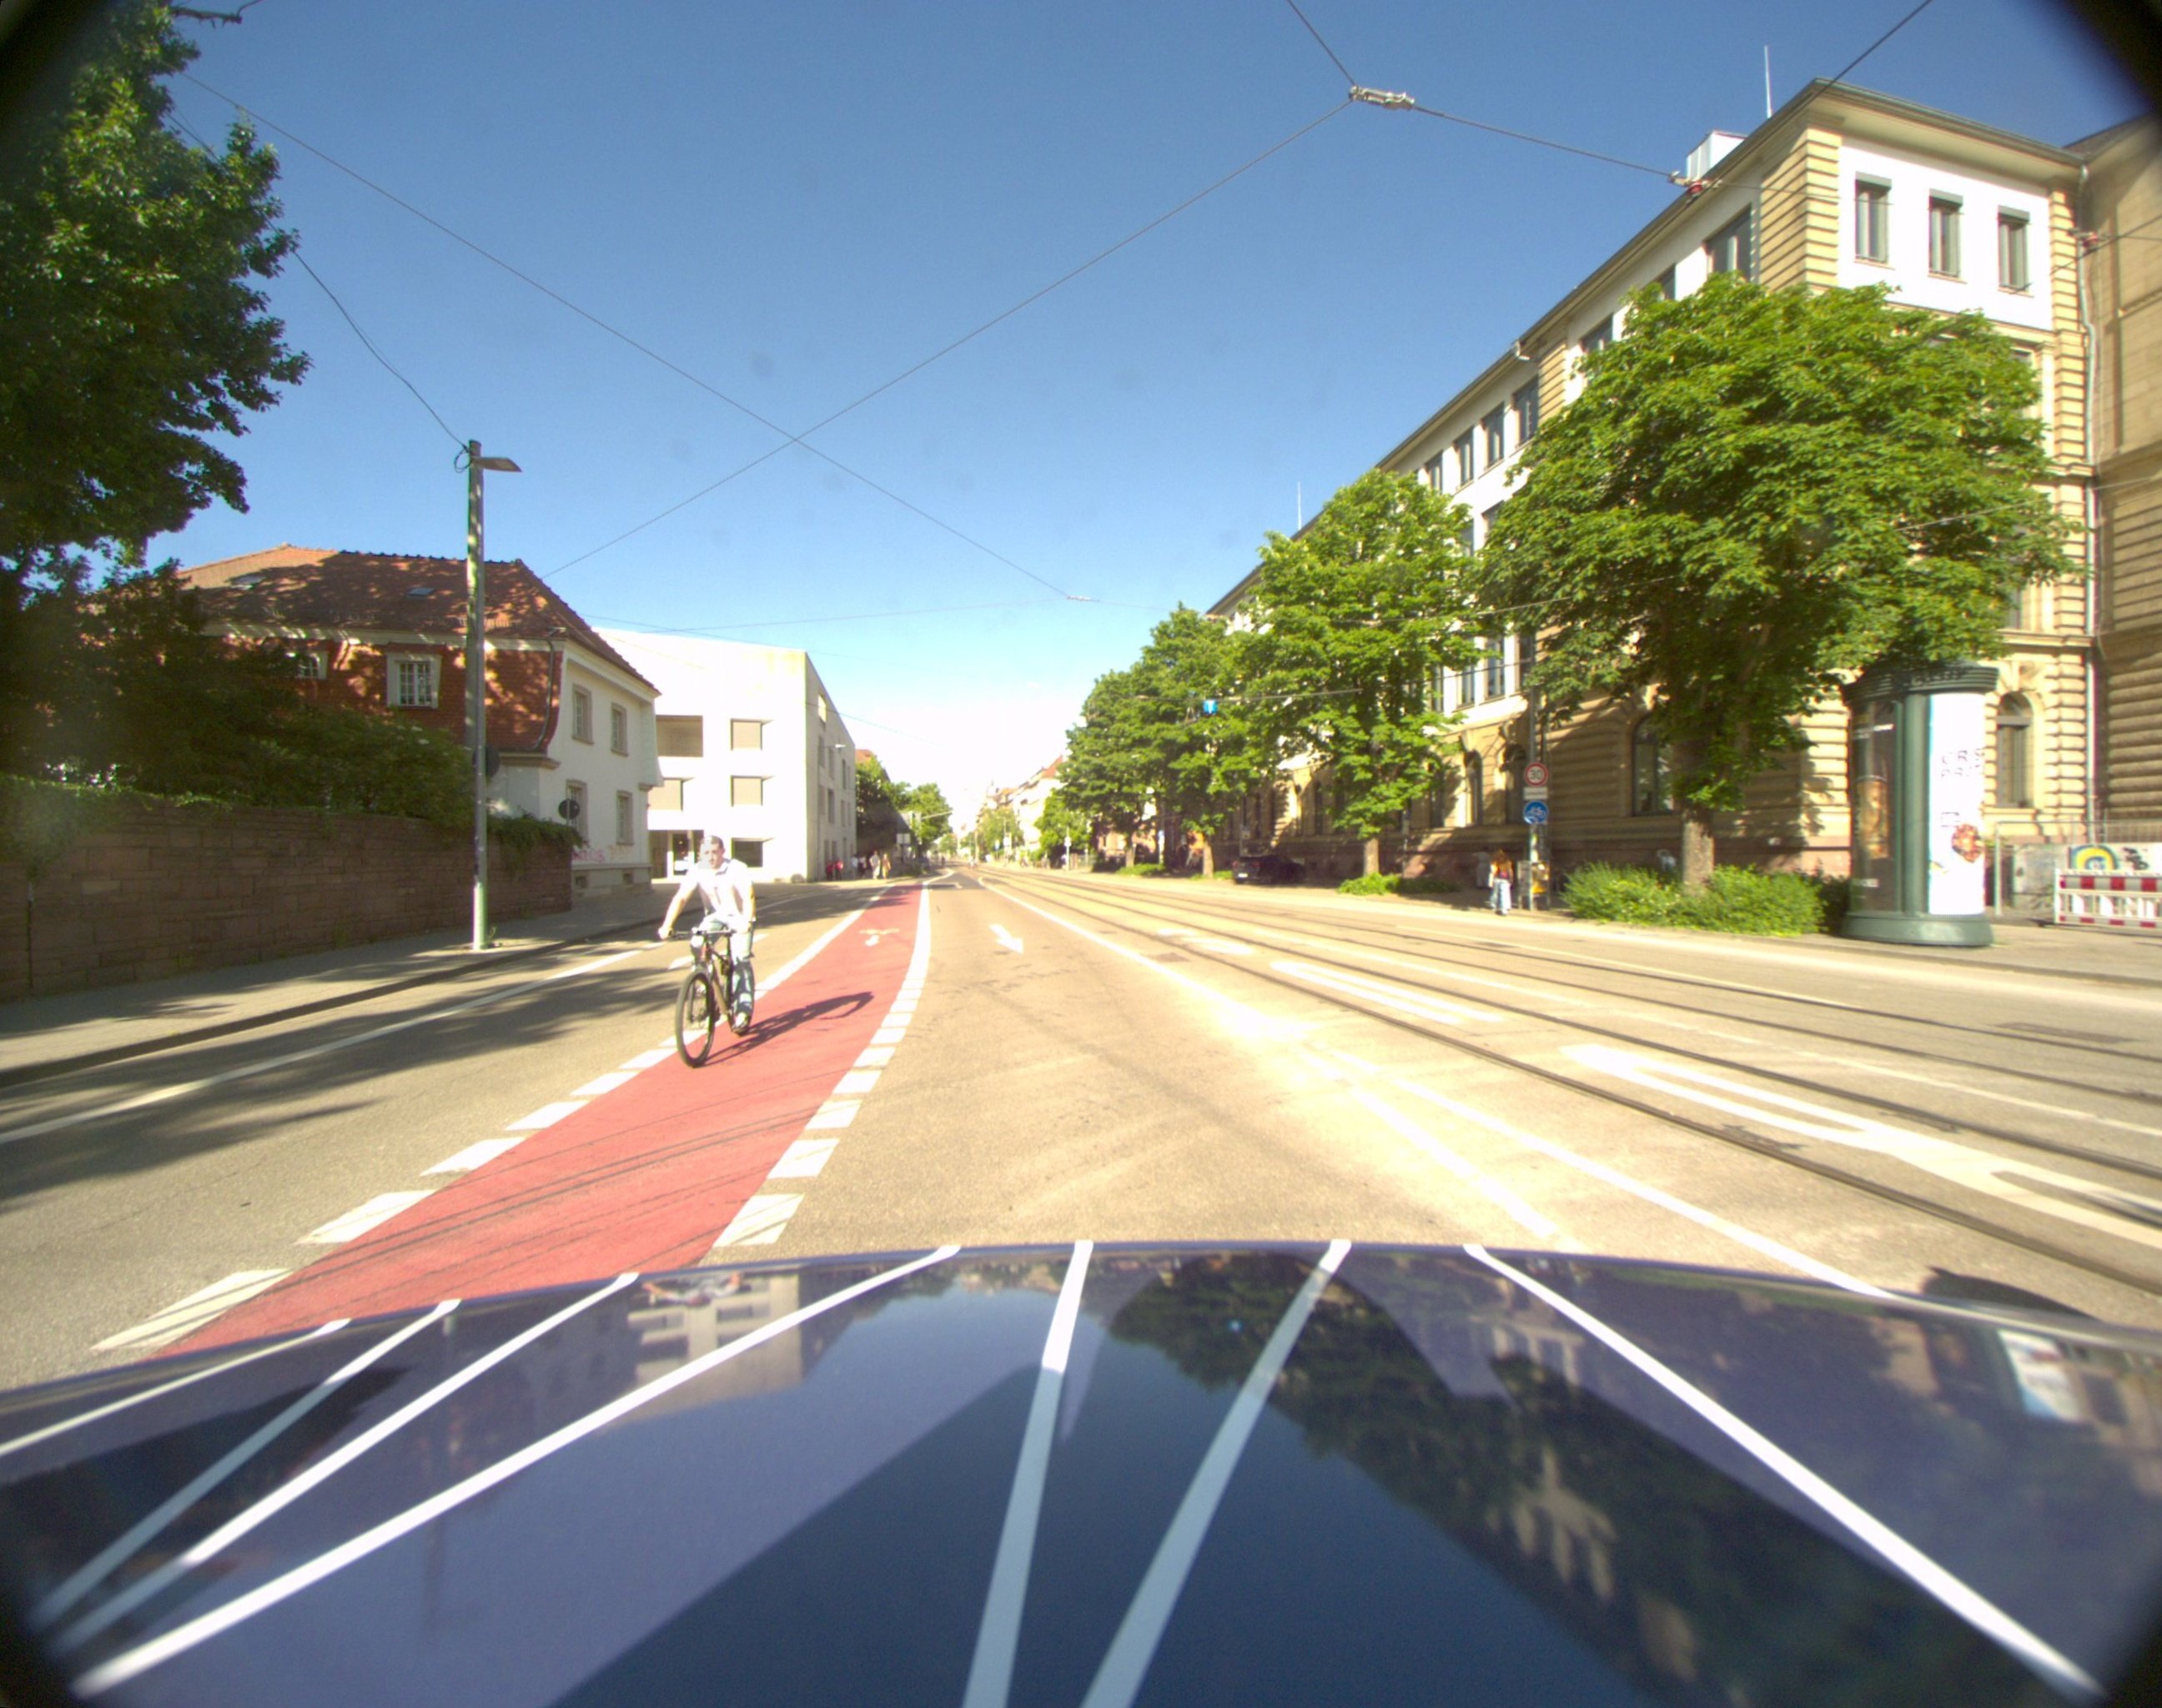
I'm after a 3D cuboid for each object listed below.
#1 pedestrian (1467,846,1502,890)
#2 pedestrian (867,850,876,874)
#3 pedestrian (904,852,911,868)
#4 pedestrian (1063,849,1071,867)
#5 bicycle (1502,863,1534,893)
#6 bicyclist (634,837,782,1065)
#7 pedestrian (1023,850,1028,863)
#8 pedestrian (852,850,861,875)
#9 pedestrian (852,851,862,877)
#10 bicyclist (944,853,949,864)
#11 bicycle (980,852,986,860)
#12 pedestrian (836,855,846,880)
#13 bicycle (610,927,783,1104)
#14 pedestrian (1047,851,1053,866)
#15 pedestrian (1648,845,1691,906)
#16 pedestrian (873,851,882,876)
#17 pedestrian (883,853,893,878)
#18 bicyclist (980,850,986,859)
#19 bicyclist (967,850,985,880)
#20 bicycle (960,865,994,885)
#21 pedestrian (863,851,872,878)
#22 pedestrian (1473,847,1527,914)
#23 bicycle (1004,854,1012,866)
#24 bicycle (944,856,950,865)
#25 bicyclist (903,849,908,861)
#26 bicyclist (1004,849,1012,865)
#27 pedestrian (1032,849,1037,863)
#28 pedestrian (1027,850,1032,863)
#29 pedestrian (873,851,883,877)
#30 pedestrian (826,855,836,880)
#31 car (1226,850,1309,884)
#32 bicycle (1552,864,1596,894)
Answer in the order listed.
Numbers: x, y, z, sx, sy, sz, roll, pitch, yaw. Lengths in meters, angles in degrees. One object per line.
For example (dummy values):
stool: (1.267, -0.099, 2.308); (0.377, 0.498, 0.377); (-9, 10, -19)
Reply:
pedestrian: (14.931, 0.508, 28.129); (0.858, 1.558, 0.672); (-4, 2, -6)
pedestrian: (-15.554, 0.586, 56.411); (0.588, 1.795, 0.545); (-1, 1, -12)
pedestrian: (-18.534, 0.648, 81.015); (0.679, 1.728, 0.931); (0, 1, -9)
pedestrian: (-1.432, 0.412, 78.739); (0.729, 1.845, 0.653); (0, 1, -8)
bicycle: (14.954, 0.802, 26.009); (0.343, 0.951, 1.101); (-2, 2, -9)
bicyclist: (-3.117, 0.757, 6.456); (0.752, 1.765, 1.013); (-1, 1, -4)
pedestrian: (-7.533, 0.357, 103.033); (0.579, 1.845, 0.684); (0, 1, -10)
pedestrian: (-16.560, 0.620, 56.138); (0.588, 1.795, 0.545); (-1, 1, -12)
pedestrian: (-15.403, 0.700, 52.258); (0.588, 1.795, 0.545); (-1, 1, -12)
bicyclist: (-18.700, 0.596, 105.679); (0.665, 1.453, 0.622); (-2, 2, -7)
bicycle: (-19.915, 0.373, 154.202); (1.004, 1.672, 2.981); (-2, 2, -10)
pedestrian: (-15.285, 0.836, 48.436); (0.535, 1.557, 0.519); (-1, 1, -12)
bicycle: (-3.128, 1.251, 6.396); (0.612, 1.071, 1.829); (-1, 0, -4)
pedestrian: (-3.754, 0.575, 91.939); (0.579, 1.845, 0.653); (0, 1, -10)
pedestrian: (15.203, 0.548, 19.629); (0.579, 1.553, 0.653); (0, 1, -10)
pedestrian: (-14.621, 0.681, 54.624); (0.588, 1.795, 0.582); (-1, 1, -12)
pedestrian: (-13.425, 0.826, 52.836); (0.588, 1.717, 0.519); (-1, 1, -12)
bicyclist: (-19.926, 0.075, 154.187); (1.004, 1.712, 0.983); (-2, 2, -11)
bicyclist: (-10.426, 1.070, 75.621); (1.470, 2.959, 1.006); (0, 3, 44)
bicycle: (-10.372, 2.114, 75.626); (3.883, 1.876, 1.006); (0, 2, 44)
pedestrian: (-14.685, 0.706, 52.251); (0.588, 1.795, 0.545); (-1, 1, -12)
pedestrian: (10.616, 0.684, 19.282); (0.771, 1.658, 1.034); (1, -3, -1)
bicycle: (-10.548, 0.870, 110.176); (1.003, 1.672, 2.981); (-2, 2, -8)
bicycle: (-18.692, 0.901, 105.708); (0.665, 1.146, 1.670); (-2, 2, -7)
bicyclist: (-32.205, 0.145, 139.522); (0.813, 2.194, 0.983); (-2, 2, -9)
bicyclist: (-10.563, 0.393, 110.175); (1.003, 2.255, 1.020); (-2, 2, -8)
pedestrian: (-6.469, 0.284, 104.826); (0.579, 1.845, 0.684); (0, 1, -10)
pedestrian: (-7.119, 0.307, 104.668); (0.579, 1.845, 0.684); (0, 1, -10)
pedestrian: (-14.012, 0.683, 52.400); (0.588, 1.795, 0.519); (-1, 1, -12)
pedestrian: (-15.927, 0.852, 48.402); (0.535, 1.557, 0.519); (-1, 1, -12)
car: (9.339, 0.623, 37.913); (4.118, 1.565, 1.916); (-1, 1, -38)
bicycle: (15.792, 0.791, 24.372); (0.398, 0.898, 1.359); (-2, 2, -9)
